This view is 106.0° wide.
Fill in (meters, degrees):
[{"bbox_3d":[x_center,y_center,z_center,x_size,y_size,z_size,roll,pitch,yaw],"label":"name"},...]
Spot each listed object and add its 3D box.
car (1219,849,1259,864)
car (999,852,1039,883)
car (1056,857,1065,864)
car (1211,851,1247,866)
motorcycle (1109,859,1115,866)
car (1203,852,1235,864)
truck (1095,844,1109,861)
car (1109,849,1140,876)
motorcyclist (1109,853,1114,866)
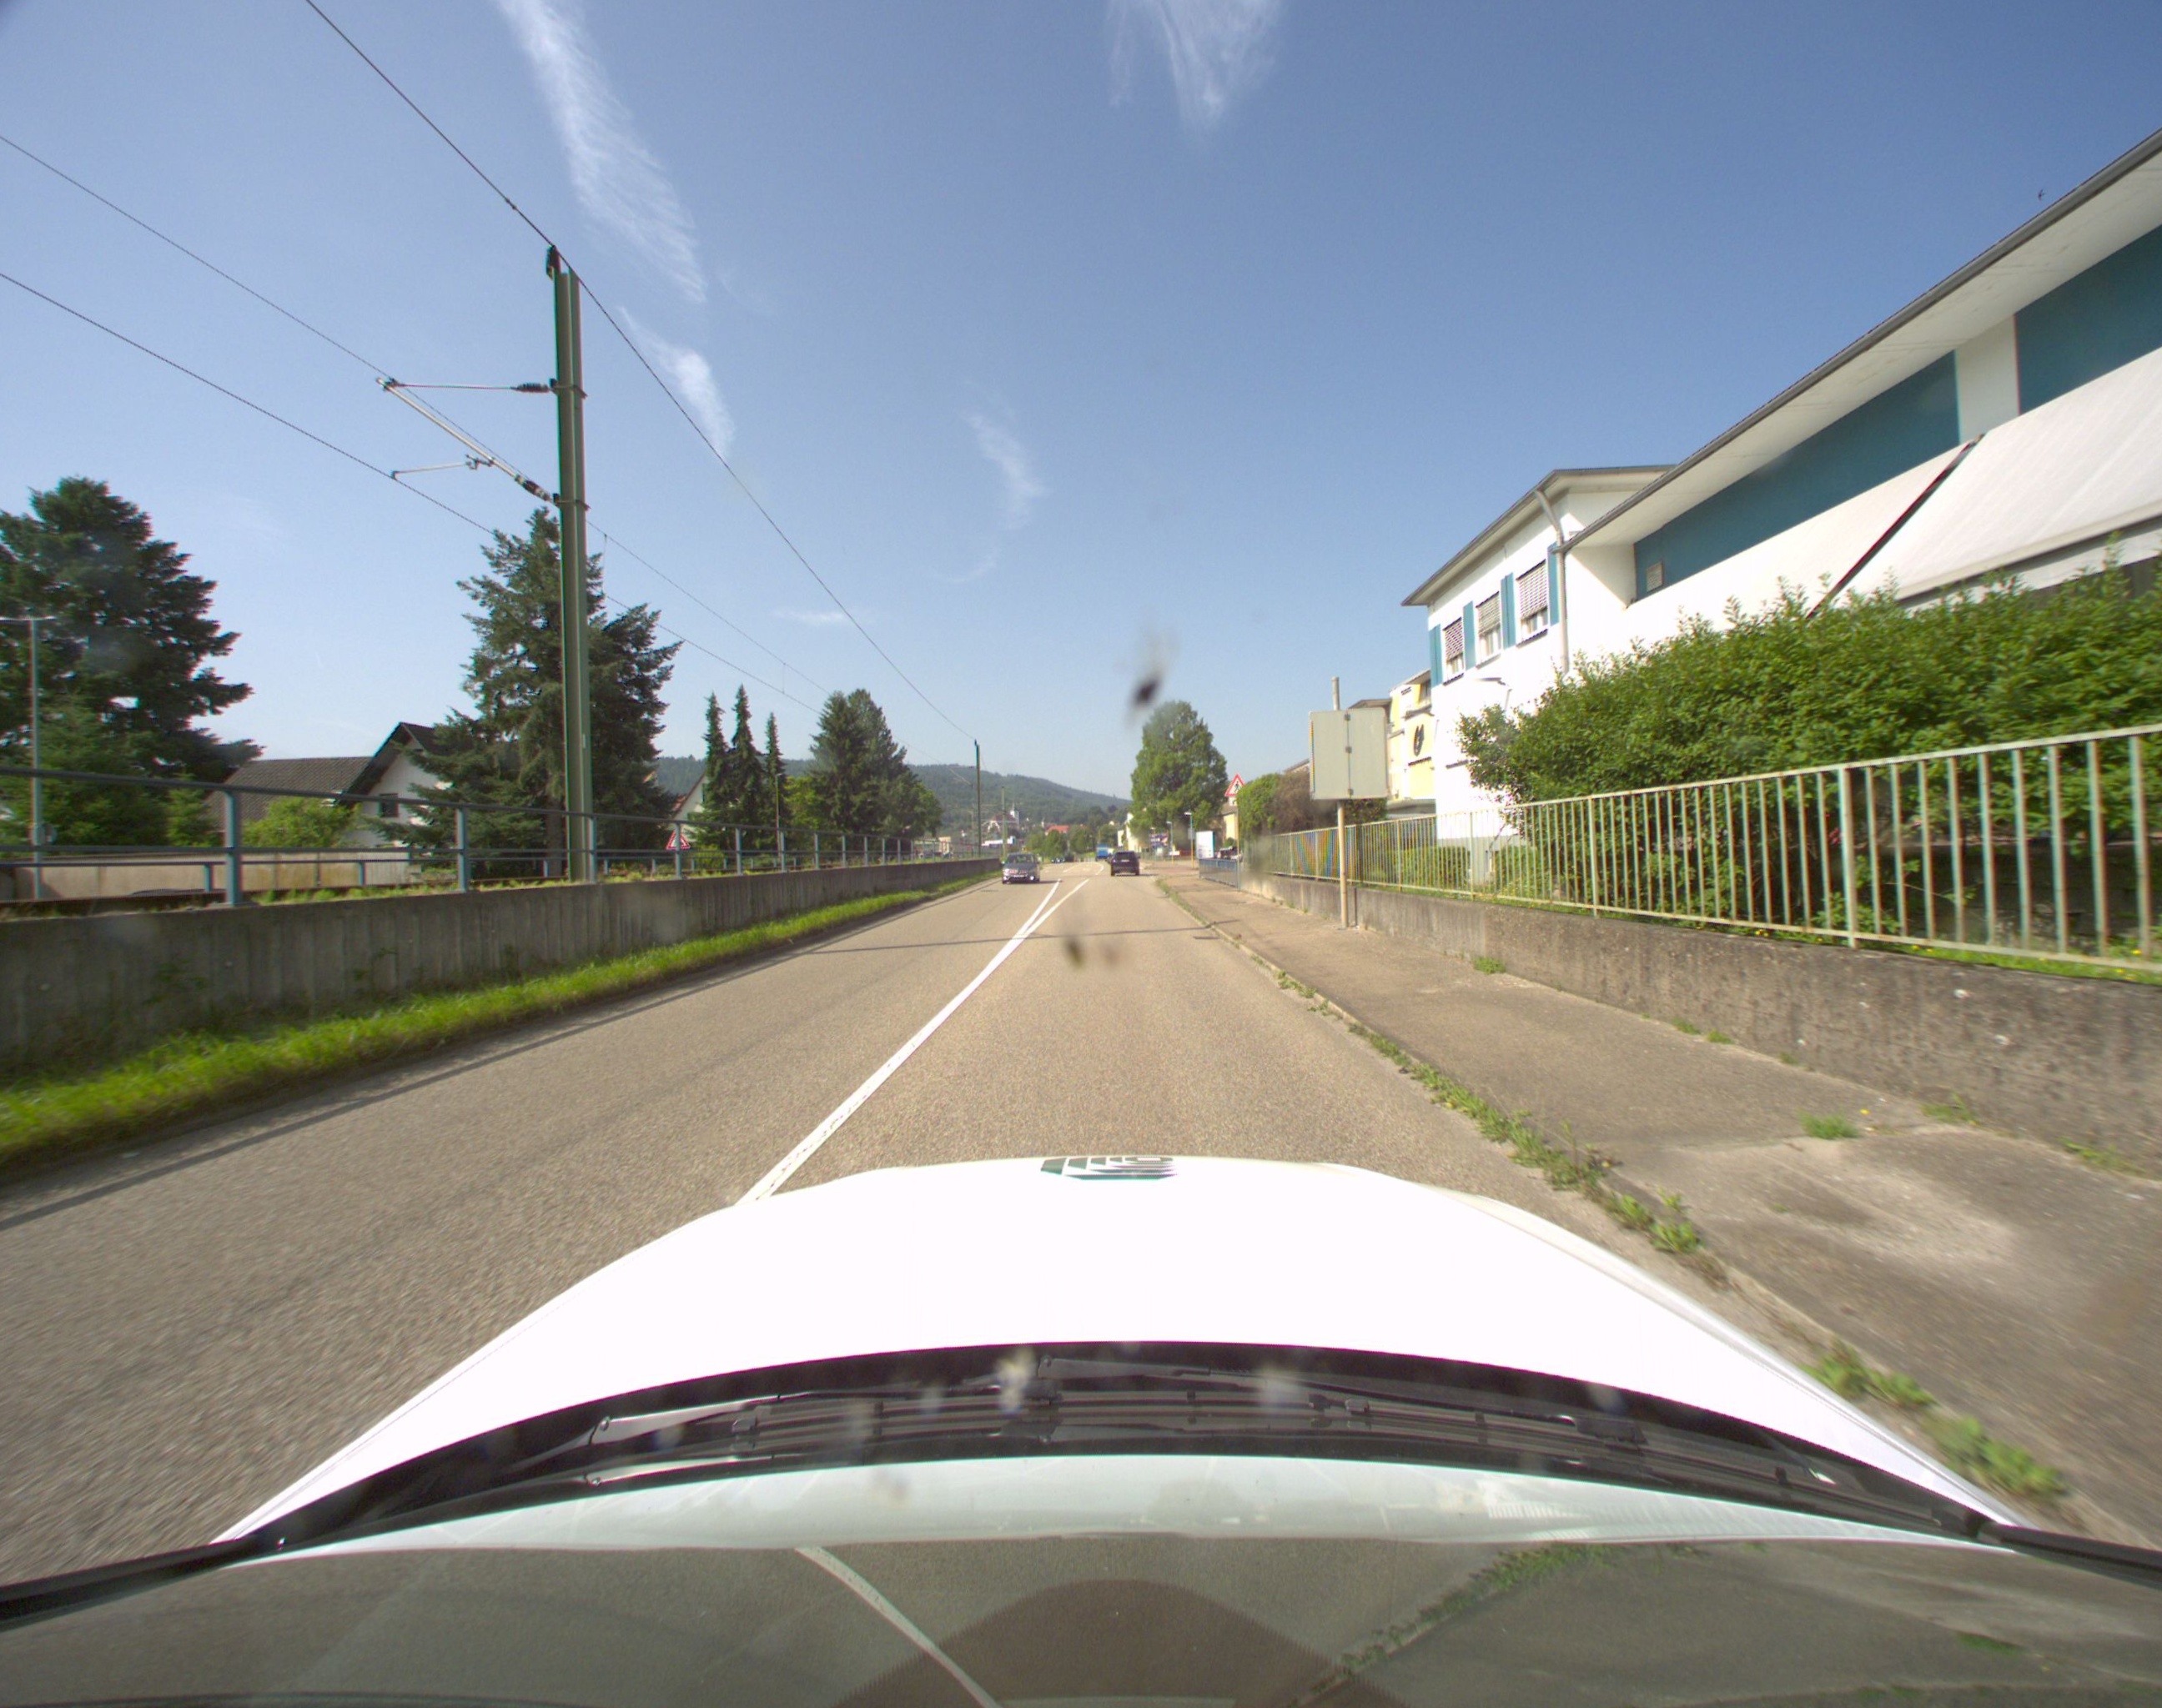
[{"bbox_3d":[17.341,0.301,89.456,4.009,1.505,1.870,-2,0,-27],"label":"car"},{"bbox_3d":[-3.174,0.679,42.427,1.736,1.507,4.199,-1,0,0],"label":"car"},{"bbox_3d":[-4.543,1.440,179.090,1.750,1.429,3.998,-2,0,-1],"label":"car"},{"bbox_3d":[18.582,0.585,102.072,4.183,1.672,1.853,-2,0,-28],"label":"car"},{"bbox_3d":[3.695,1.014,97.102,0.604,0.753,1.415,-2,0,1],"label":"motorcycle"},{"bbox_3d":[17.997,0.494,106.164,4.011,1.401,1.648,-2,0,-29],"label":"car"},{"bbox_3d":[3.786,-0.250,147.406,2.306,2.970,5.963,-2,0,-1],"label":"truck"},{"bbox_3d":[2.868,0.565,53.474,1.911,1.640,4.004,-2,0,3],"label":"car"},{"bbox_3d":[3.649,0.608,97.107,0.604,1.520,0.863,-2,-1,1],"label":"motorcyclist"}]
